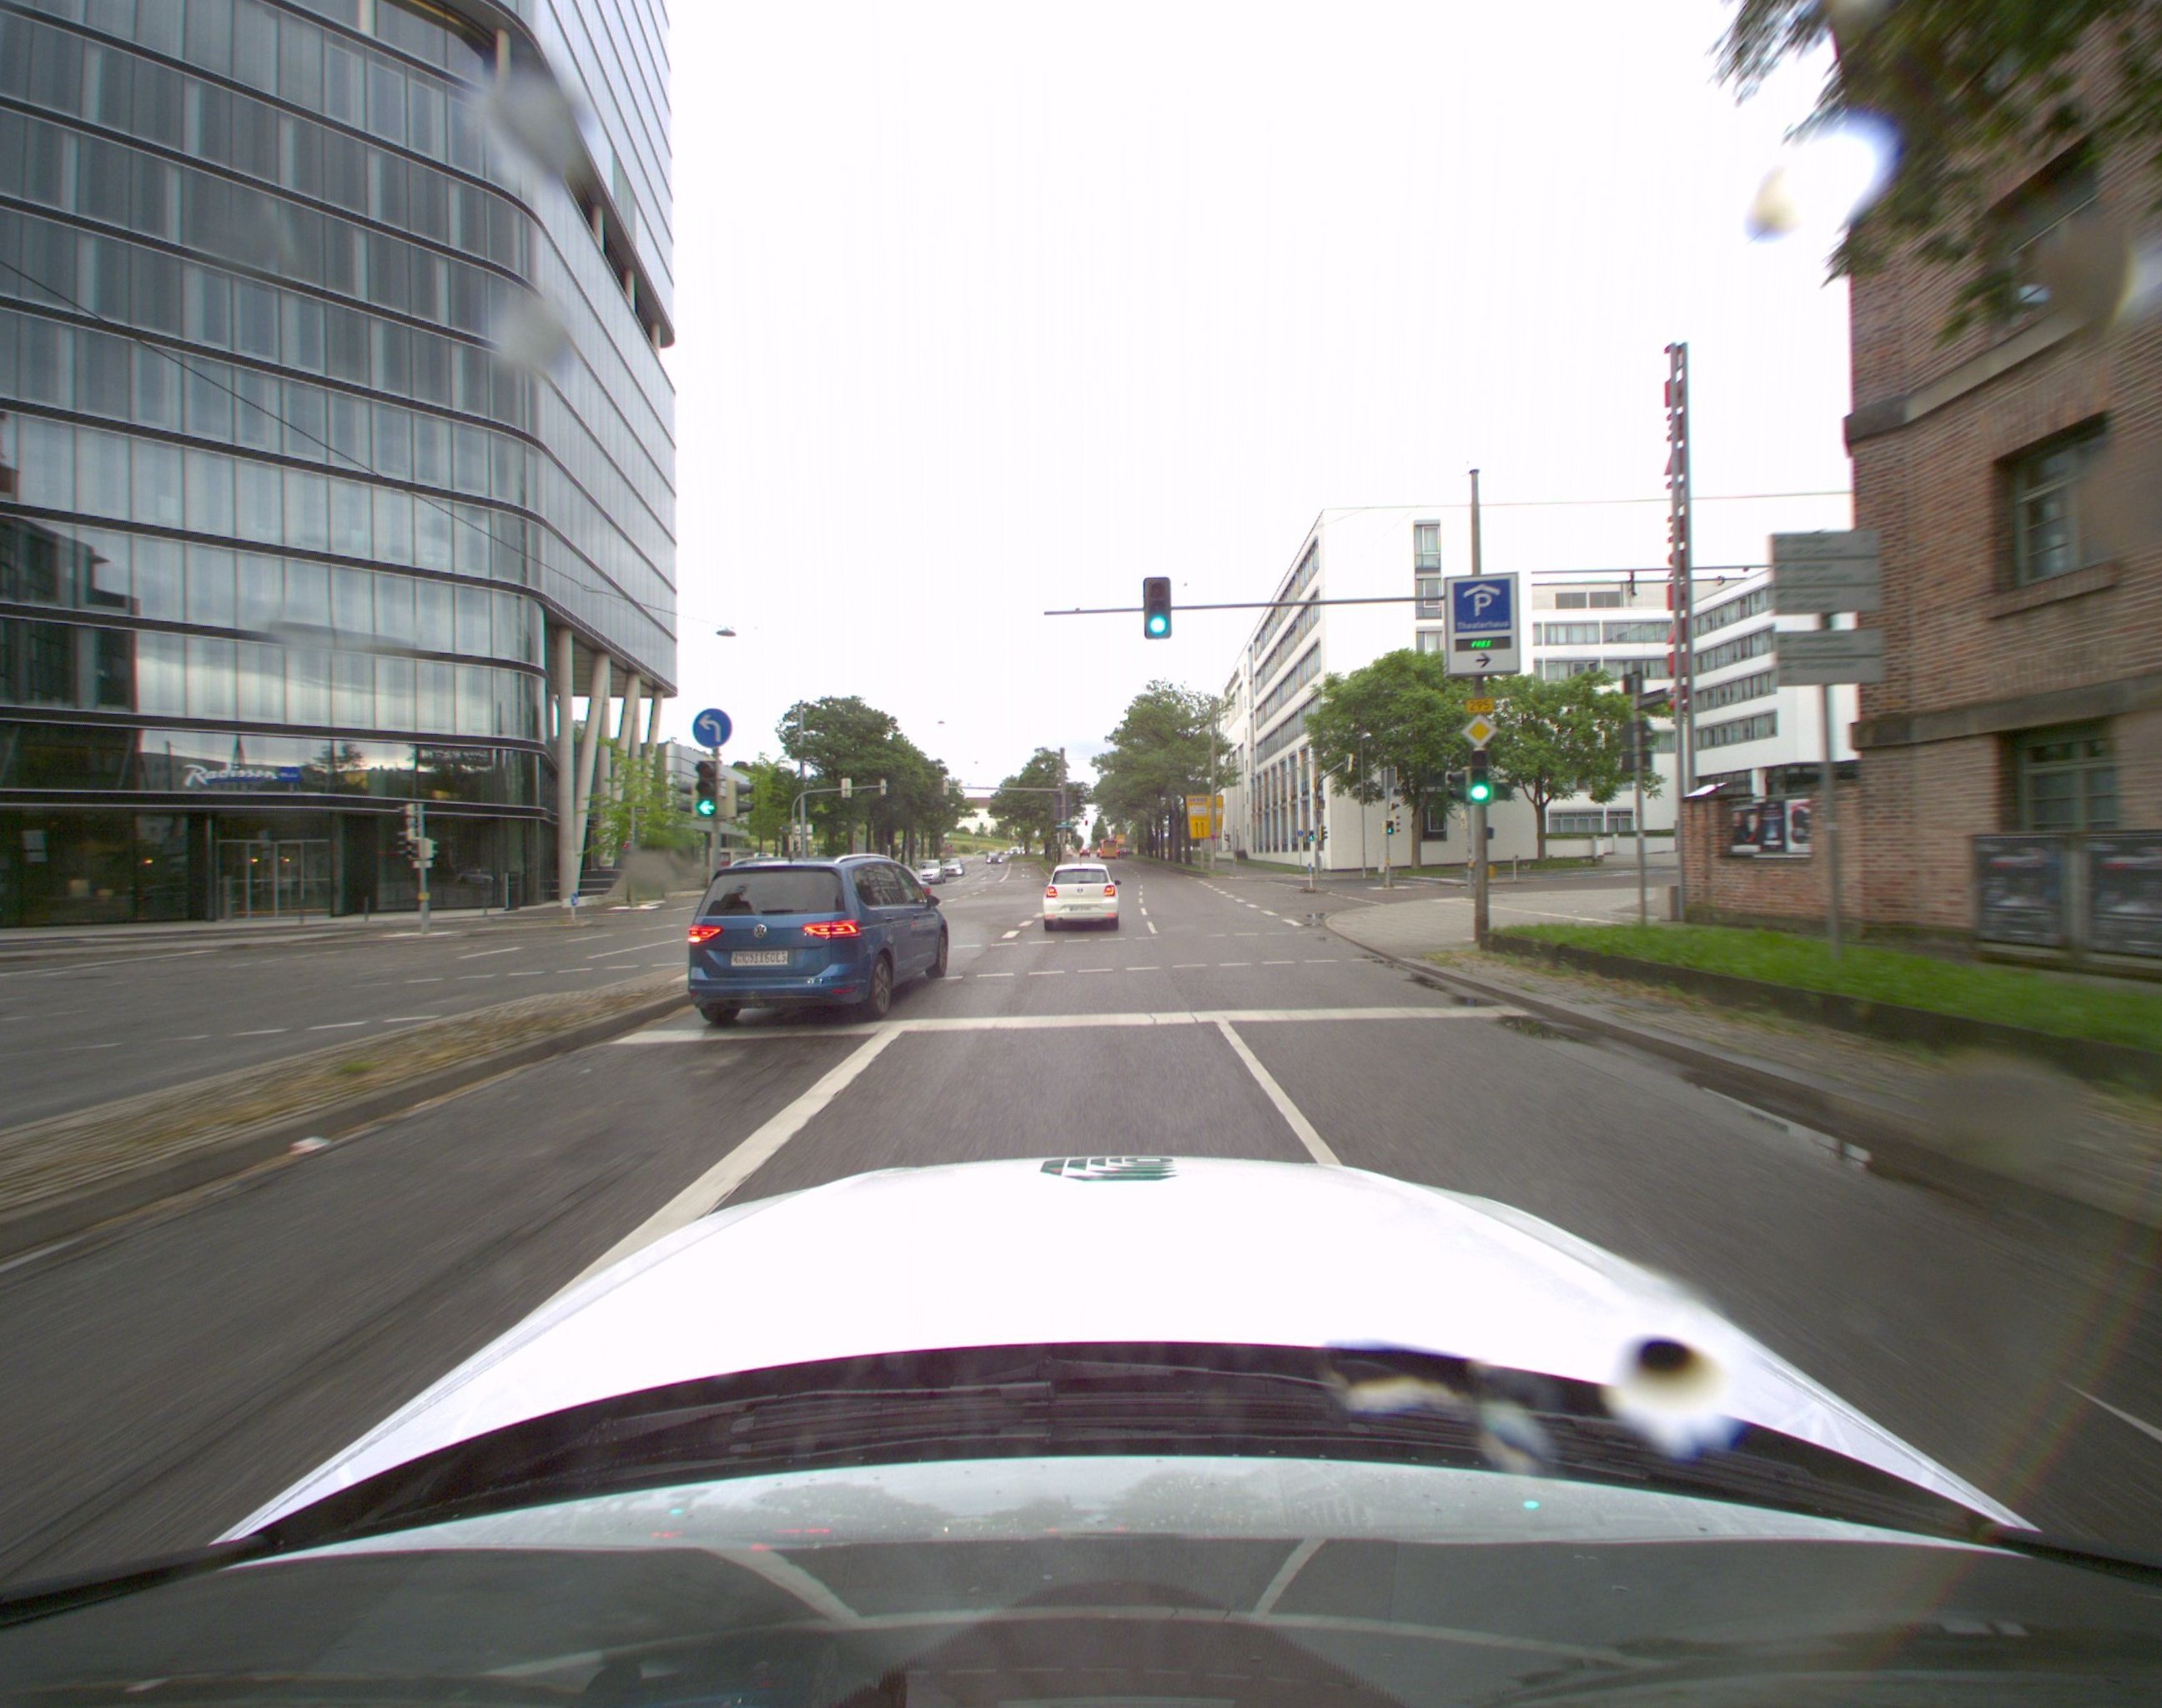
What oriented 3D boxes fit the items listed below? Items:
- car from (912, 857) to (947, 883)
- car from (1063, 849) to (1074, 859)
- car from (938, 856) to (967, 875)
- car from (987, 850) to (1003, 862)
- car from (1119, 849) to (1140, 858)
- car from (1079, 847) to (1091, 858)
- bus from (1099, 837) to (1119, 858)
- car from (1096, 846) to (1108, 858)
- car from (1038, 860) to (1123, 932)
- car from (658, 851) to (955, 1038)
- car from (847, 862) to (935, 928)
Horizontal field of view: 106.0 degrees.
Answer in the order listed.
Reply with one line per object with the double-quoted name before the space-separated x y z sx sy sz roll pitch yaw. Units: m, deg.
"car" -9.810 1.034 53.018 1.746 1.520 3.812 -2 0 -3
"car" -2.280 -0.064 147.111 1.789 1.741 3.998 -2 0 -1
"car" -10.536 0.934 66.785 1.810 1.411 4.650 -3 1 -3
"car" -11.893 0.261 112.748 1.990 1.615 5.113 -2 1 -4
"car" 8.654 -0.149 145.241 1.679 1.515 3.850 -2 -1 44
"car" 0.711 -0.252 145.488 1.987 2.014 3.999 -1 0 -1
"bus" 4.502 -1.030 133.022 2.819 3.266 9.998 -1 1 0
"car" 3.752 -0.315 146.255 1.987 2.014 3.999 -1 0 -1
"car" 0.015 0.894 19.230 1.788 1.502 4.000 -1 0 1
"car" -2.757 0.812 9.297 1.765 1.596 4.199 -2 0 2
"car" -5.107 0.993 21.559 1.852 1.510 4.022 -2 0 -19
